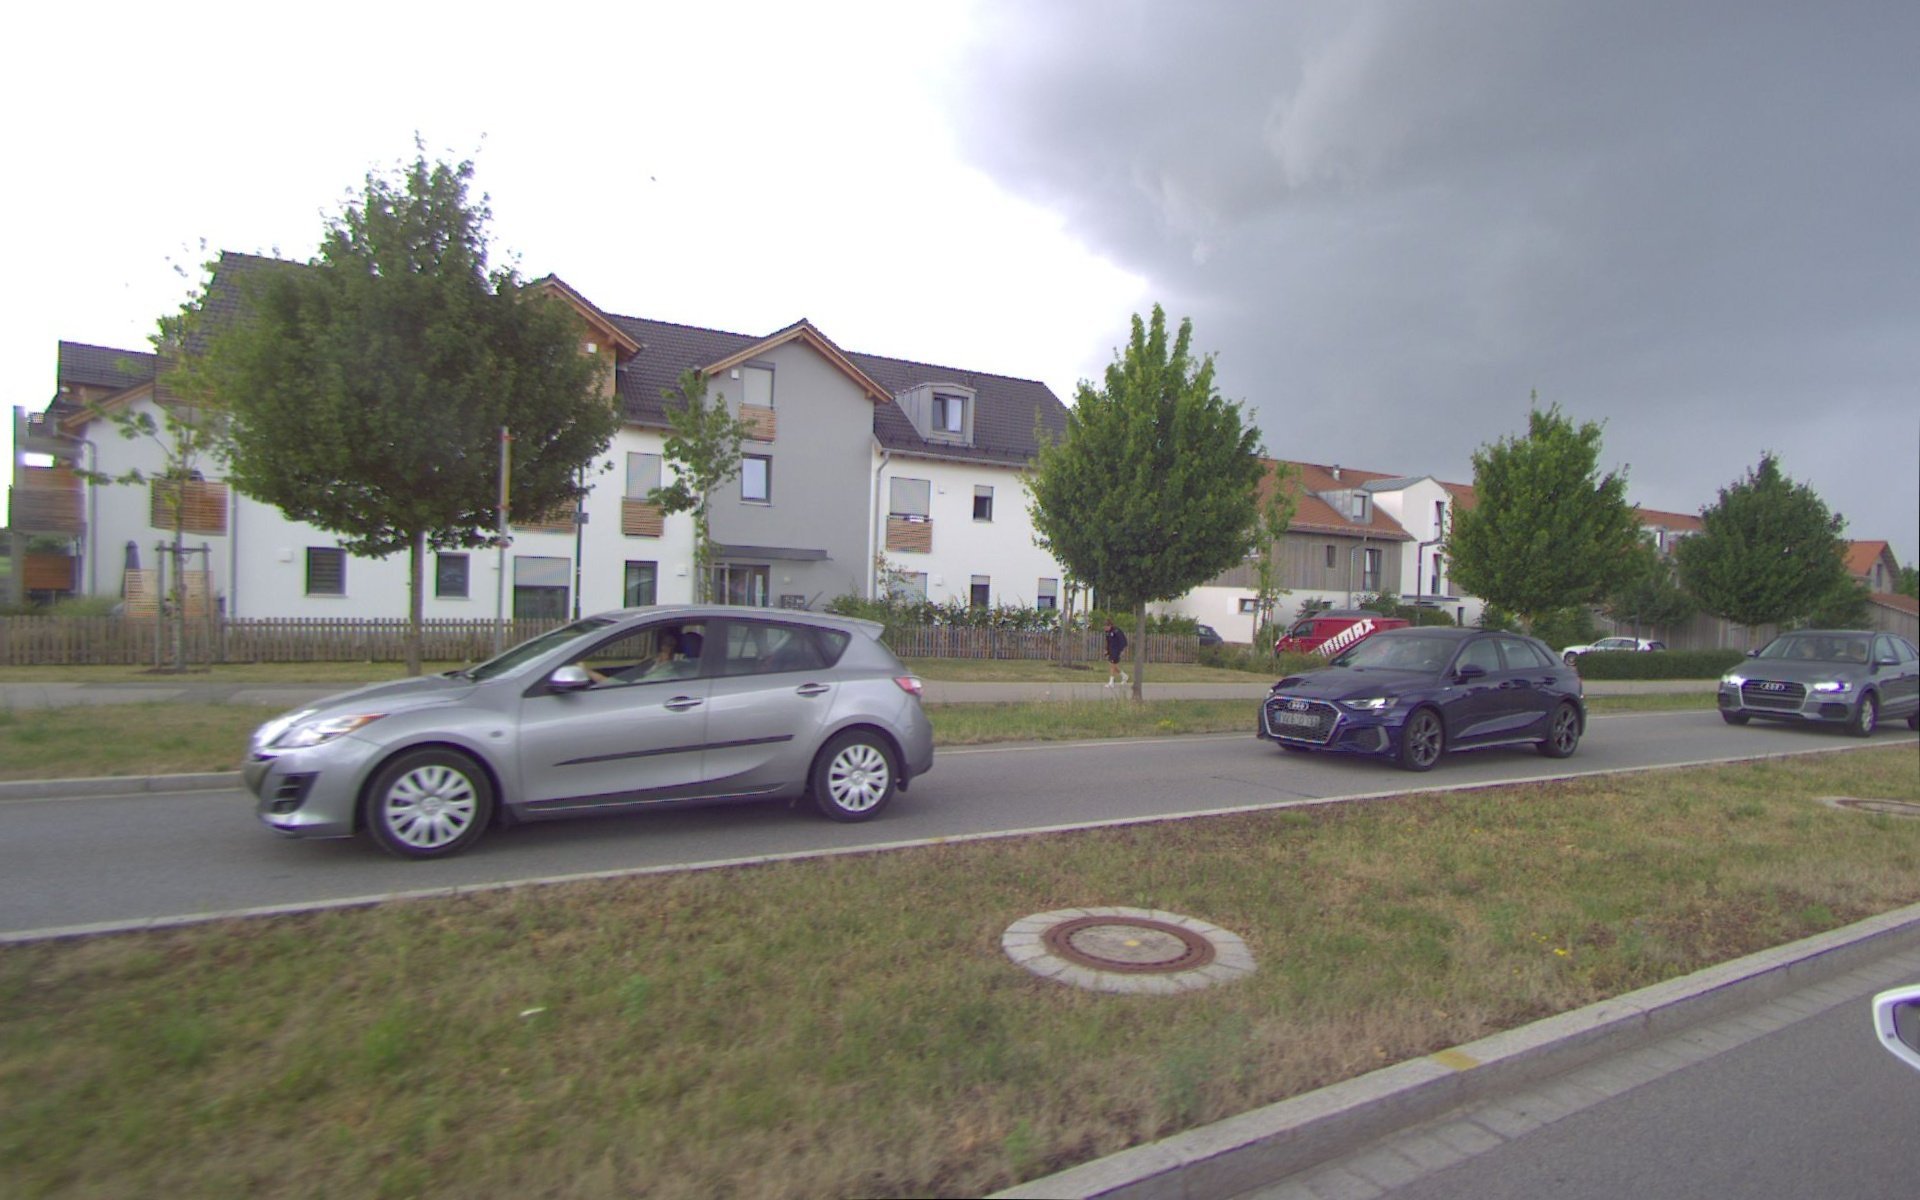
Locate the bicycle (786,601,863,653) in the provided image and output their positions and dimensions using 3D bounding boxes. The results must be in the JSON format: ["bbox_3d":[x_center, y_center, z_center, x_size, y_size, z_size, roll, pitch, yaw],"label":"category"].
[{"bbox_3d":[-3.888,0.780,28.830,2.070,1.447,0.679,2,-1,-31],"label":"bicycle"}]

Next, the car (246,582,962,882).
[{"bbox_3d":[-2.235,0.718,6.913,4.167,1.508,1.817,2,-1,-31],"label":"car"}]

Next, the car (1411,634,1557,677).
[{"bbox_3d":[20.479,2.150,39.495,1.883,1.449,4.884,2,-1,-29],"label":"car"}]

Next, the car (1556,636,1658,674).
[{"bbox_3d":[28.598,2.387,44.461,1.545,1.509,3.497,1,-1,-30],"label":"car"}]

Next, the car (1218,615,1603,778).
[{"bbox_3d":[5.135,0.971,11.313,4.300,1.508,1.817,2,-1,-31],"label":"car"}]

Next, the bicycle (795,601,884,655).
[{"bbox_3d":[-3.243,0.763,27.207,2.317,1.431,0.679,2,-1,-31],"label":"bicycle"}]

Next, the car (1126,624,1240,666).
[{"bbox_3d":[8.325,1.656,37.449,3.954,1.439,1.866,2,-1,-31],"label":"car"}]

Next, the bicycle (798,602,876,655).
[{"bbox_3d":[-3.453,0.801,28.213,2.070,1.436,0.679,2,-1,-31],"label":"bicycle"}]

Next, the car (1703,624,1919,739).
[{"bbox_3d":[13.993,1.227,16.166,4.167,1.603,1.817,2,-1,-31],"label":"car"}]

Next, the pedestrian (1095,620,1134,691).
[{"bbox_3d":[3.481,1.236,22.665,0.579,1.550,0.543,1,2,-30],"label":"pedestrian"}]

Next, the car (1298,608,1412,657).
[{"bbox_3d":[18.321,1.499,46.547,5.135,2.041,1.985,2,3,-28],"label":"car"}]

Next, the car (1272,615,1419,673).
[{"bbox_3d":[13.391,1.471,35.222,1.880,1.840,4.891,1,-1,-25],"label":"car"}]
